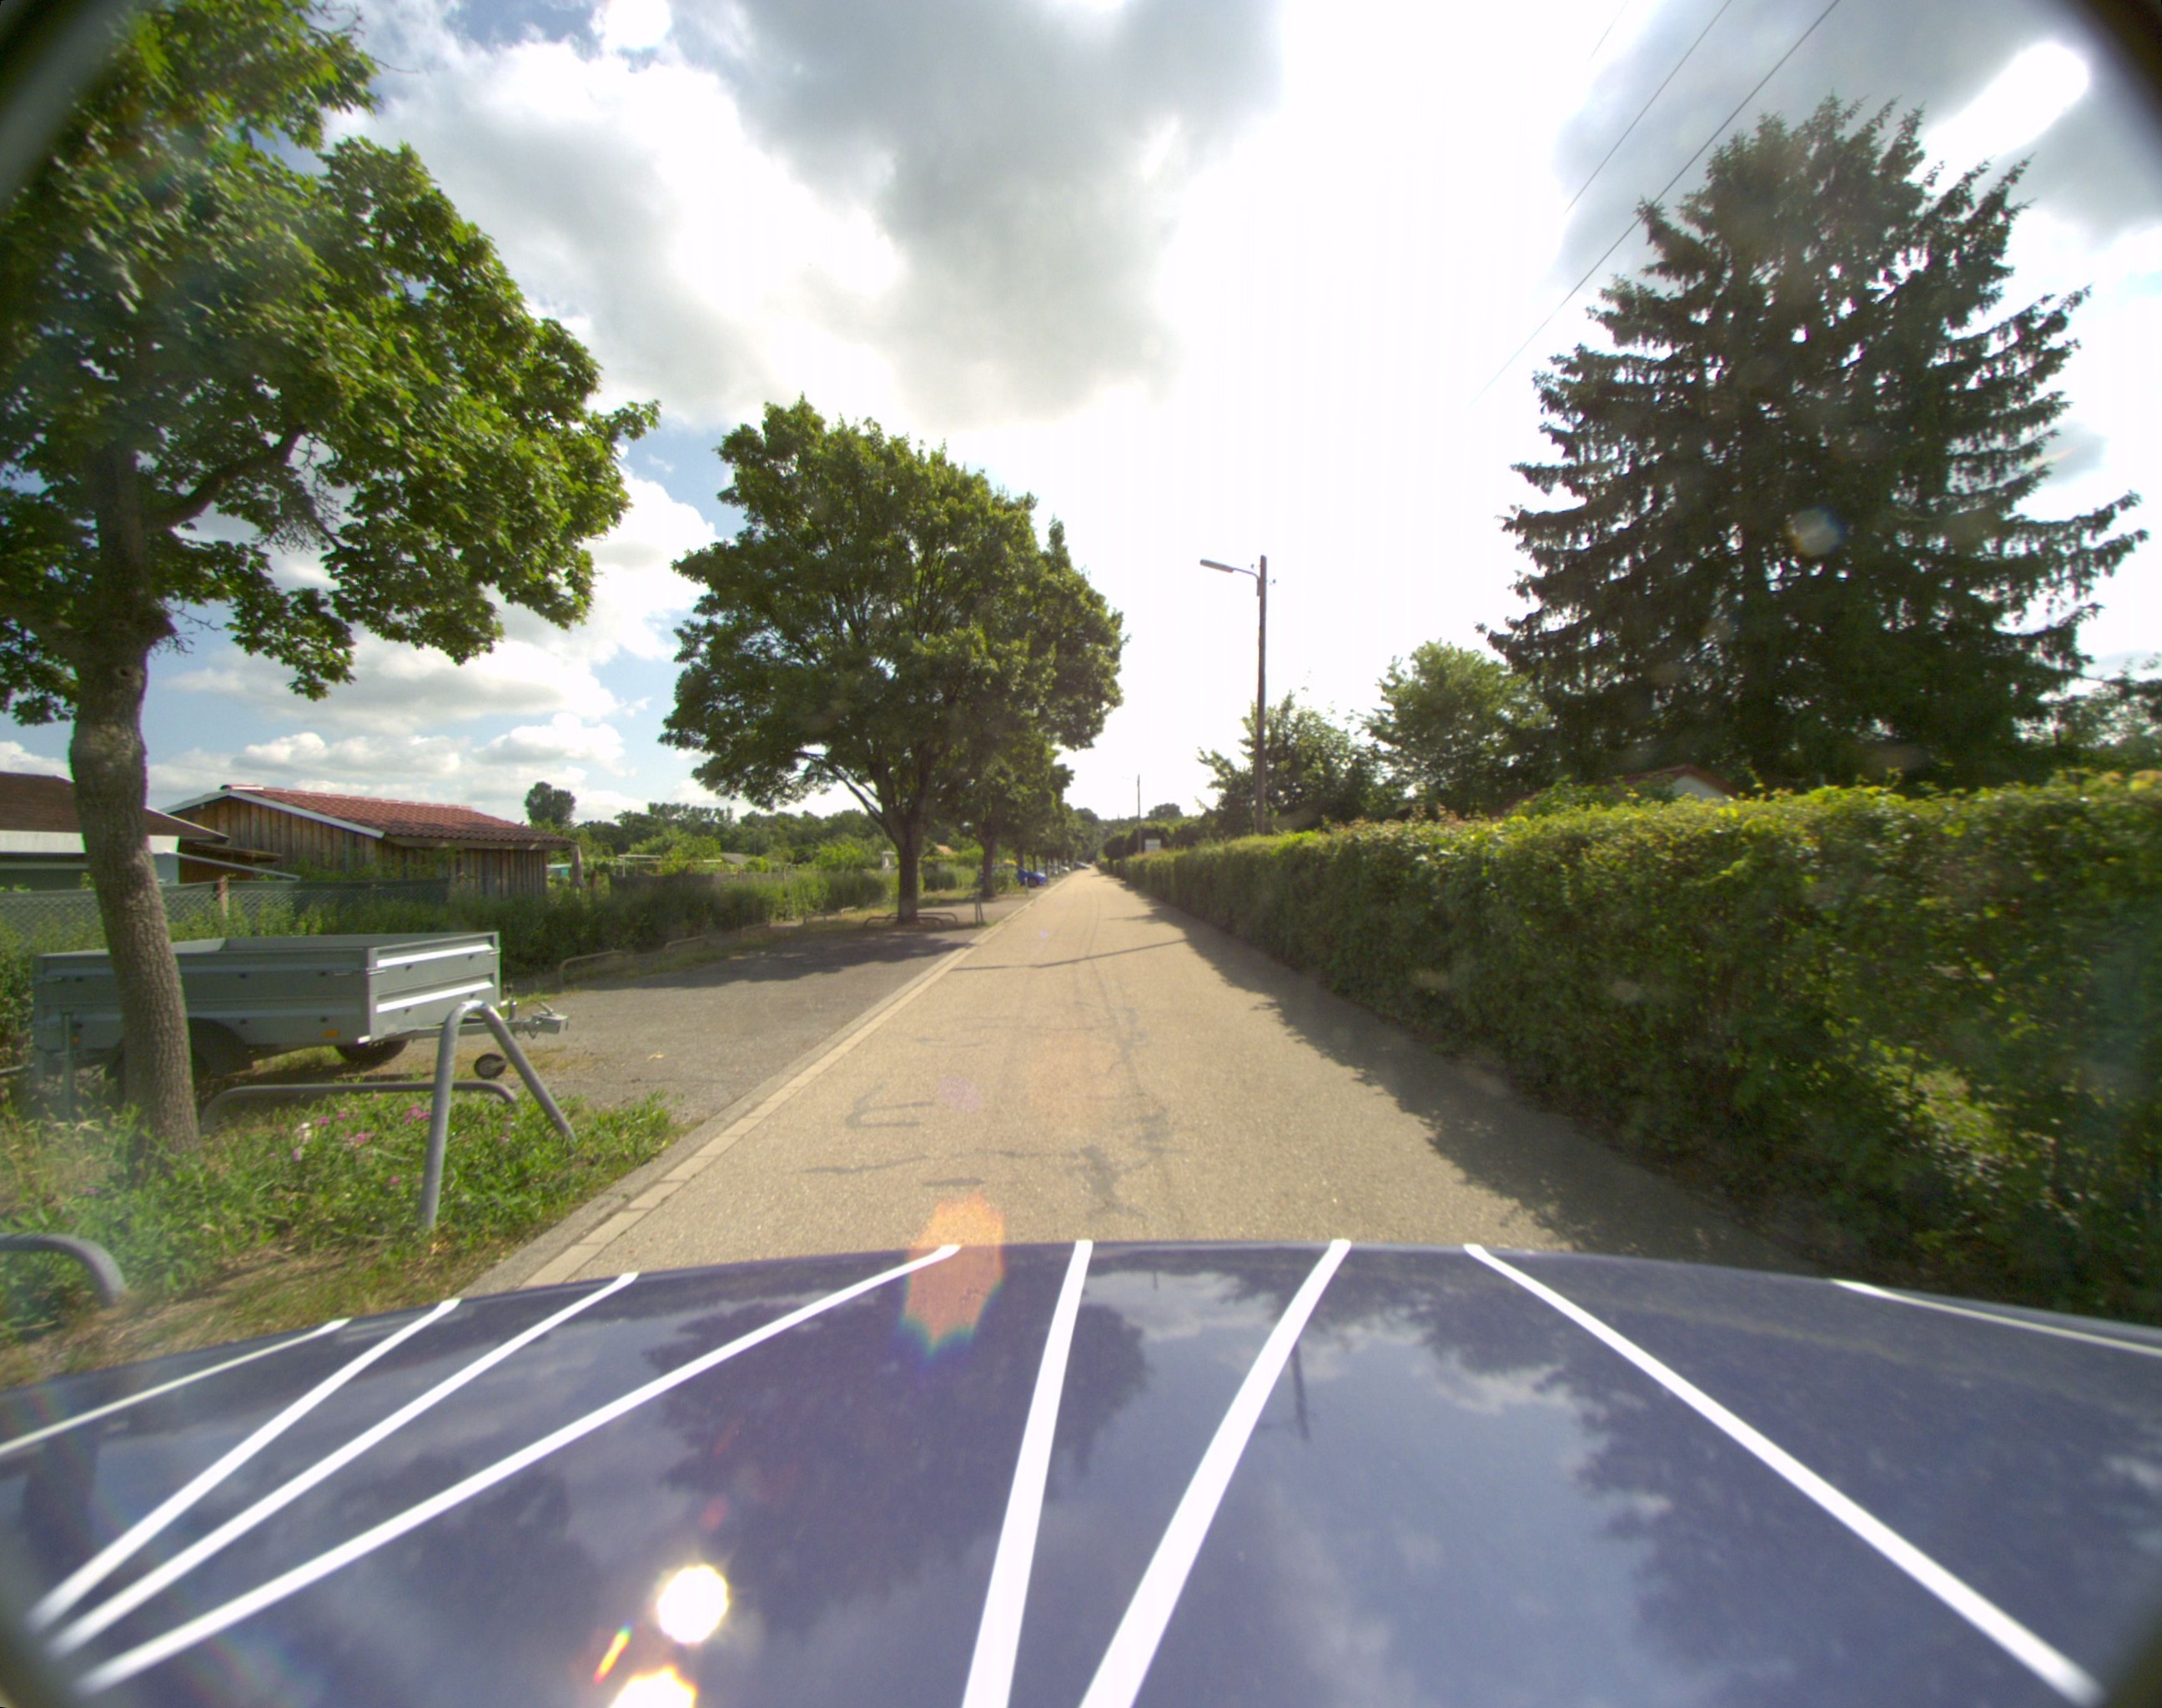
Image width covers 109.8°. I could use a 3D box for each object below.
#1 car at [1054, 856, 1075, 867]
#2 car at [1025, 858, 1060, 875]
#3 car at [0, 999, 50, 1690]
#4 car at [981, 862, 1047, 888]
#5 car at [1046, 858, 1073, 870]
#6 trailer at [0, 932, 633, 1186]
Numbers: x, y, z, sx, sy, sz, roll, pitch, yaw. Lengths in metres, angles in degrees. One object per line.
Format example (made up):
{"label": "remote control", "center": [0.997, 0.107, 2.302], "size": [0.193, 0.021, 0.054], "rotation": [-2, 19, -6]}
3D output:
{"label": "car", "center": [-3.168, 1.406, 146.197], "size": [3.998, 1.824, 1.999], "rotation": [-3, 1, -3]}
{"label": "car", "center": [-4.489, 1.420, 89.334], "size": [3.929, 1.740, 2.000], "rotation": [-3, 1, 0]}
{"label": "car", "center": [-4.575, 1.109, 0.592], "size": [4.590, 1.457, 2.000], "rotation": [-2, 0, -2]}
{"label": "car", "center": [-4.290, 1.355, 49.322], "size": [4.116, 1.573, 1.781], "rotation": [-1, 0, -1]}
{"label": "car", "center": [-3.314, 1.566, 117.940], "size": [3.929, 1.740, 2.000], "rotation": [-3, 1, 0]}
{"label": "trailer", "center": [-5.327, 1.293, 5.339], "size": [3.108, 1.136, 2.000], "rotation": [-3, 0, 1]}
